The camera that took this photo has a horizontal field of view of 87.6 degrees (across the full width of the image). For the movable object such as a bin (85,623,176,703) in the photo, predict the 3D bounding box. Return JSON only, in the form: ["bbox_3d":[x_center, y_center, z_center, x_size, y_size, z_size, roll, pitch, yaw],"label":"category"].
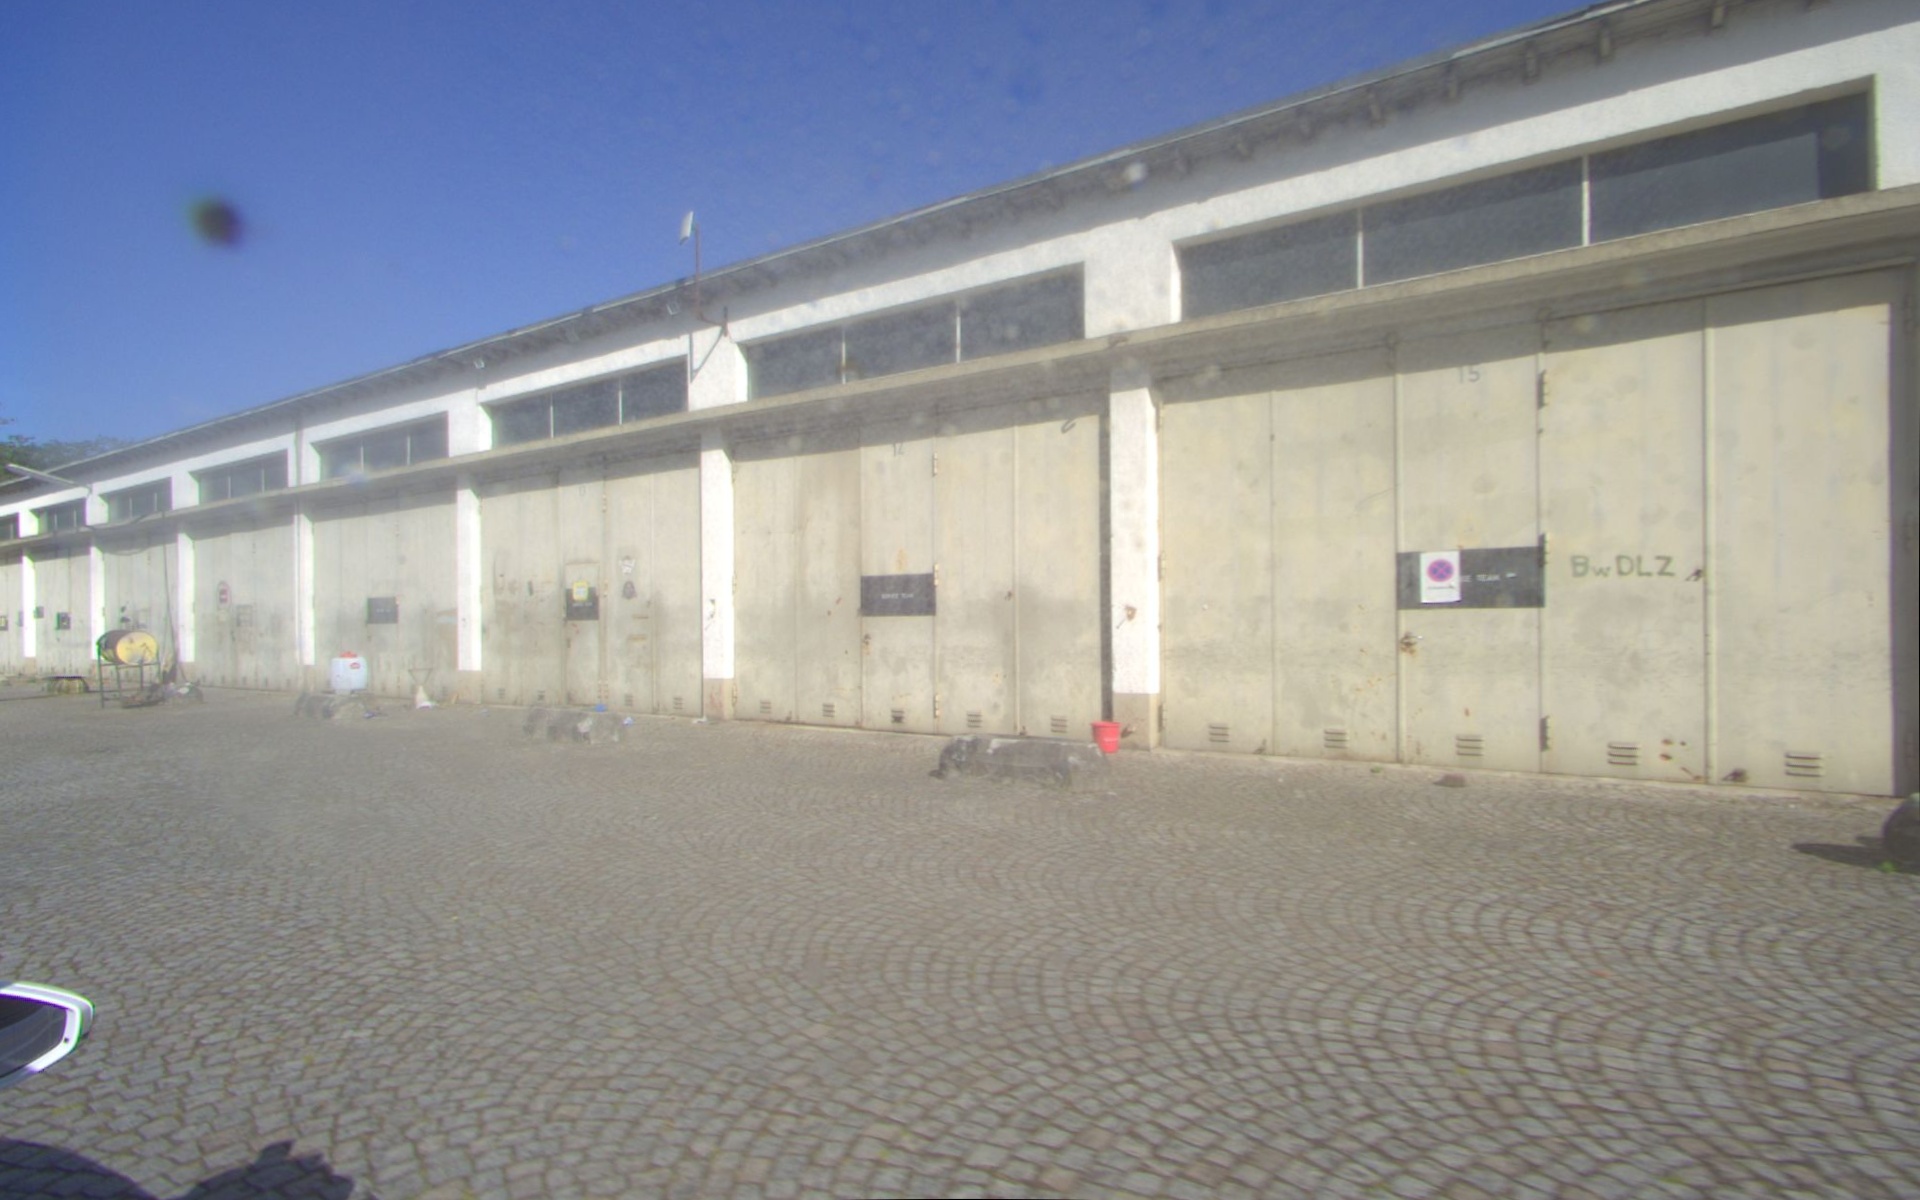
[{"bbox_3d":[-14.540,1.083,17.553,1.261,1.349,0.822,-1,-1,29],"label":"movable object such as a bin"}]
